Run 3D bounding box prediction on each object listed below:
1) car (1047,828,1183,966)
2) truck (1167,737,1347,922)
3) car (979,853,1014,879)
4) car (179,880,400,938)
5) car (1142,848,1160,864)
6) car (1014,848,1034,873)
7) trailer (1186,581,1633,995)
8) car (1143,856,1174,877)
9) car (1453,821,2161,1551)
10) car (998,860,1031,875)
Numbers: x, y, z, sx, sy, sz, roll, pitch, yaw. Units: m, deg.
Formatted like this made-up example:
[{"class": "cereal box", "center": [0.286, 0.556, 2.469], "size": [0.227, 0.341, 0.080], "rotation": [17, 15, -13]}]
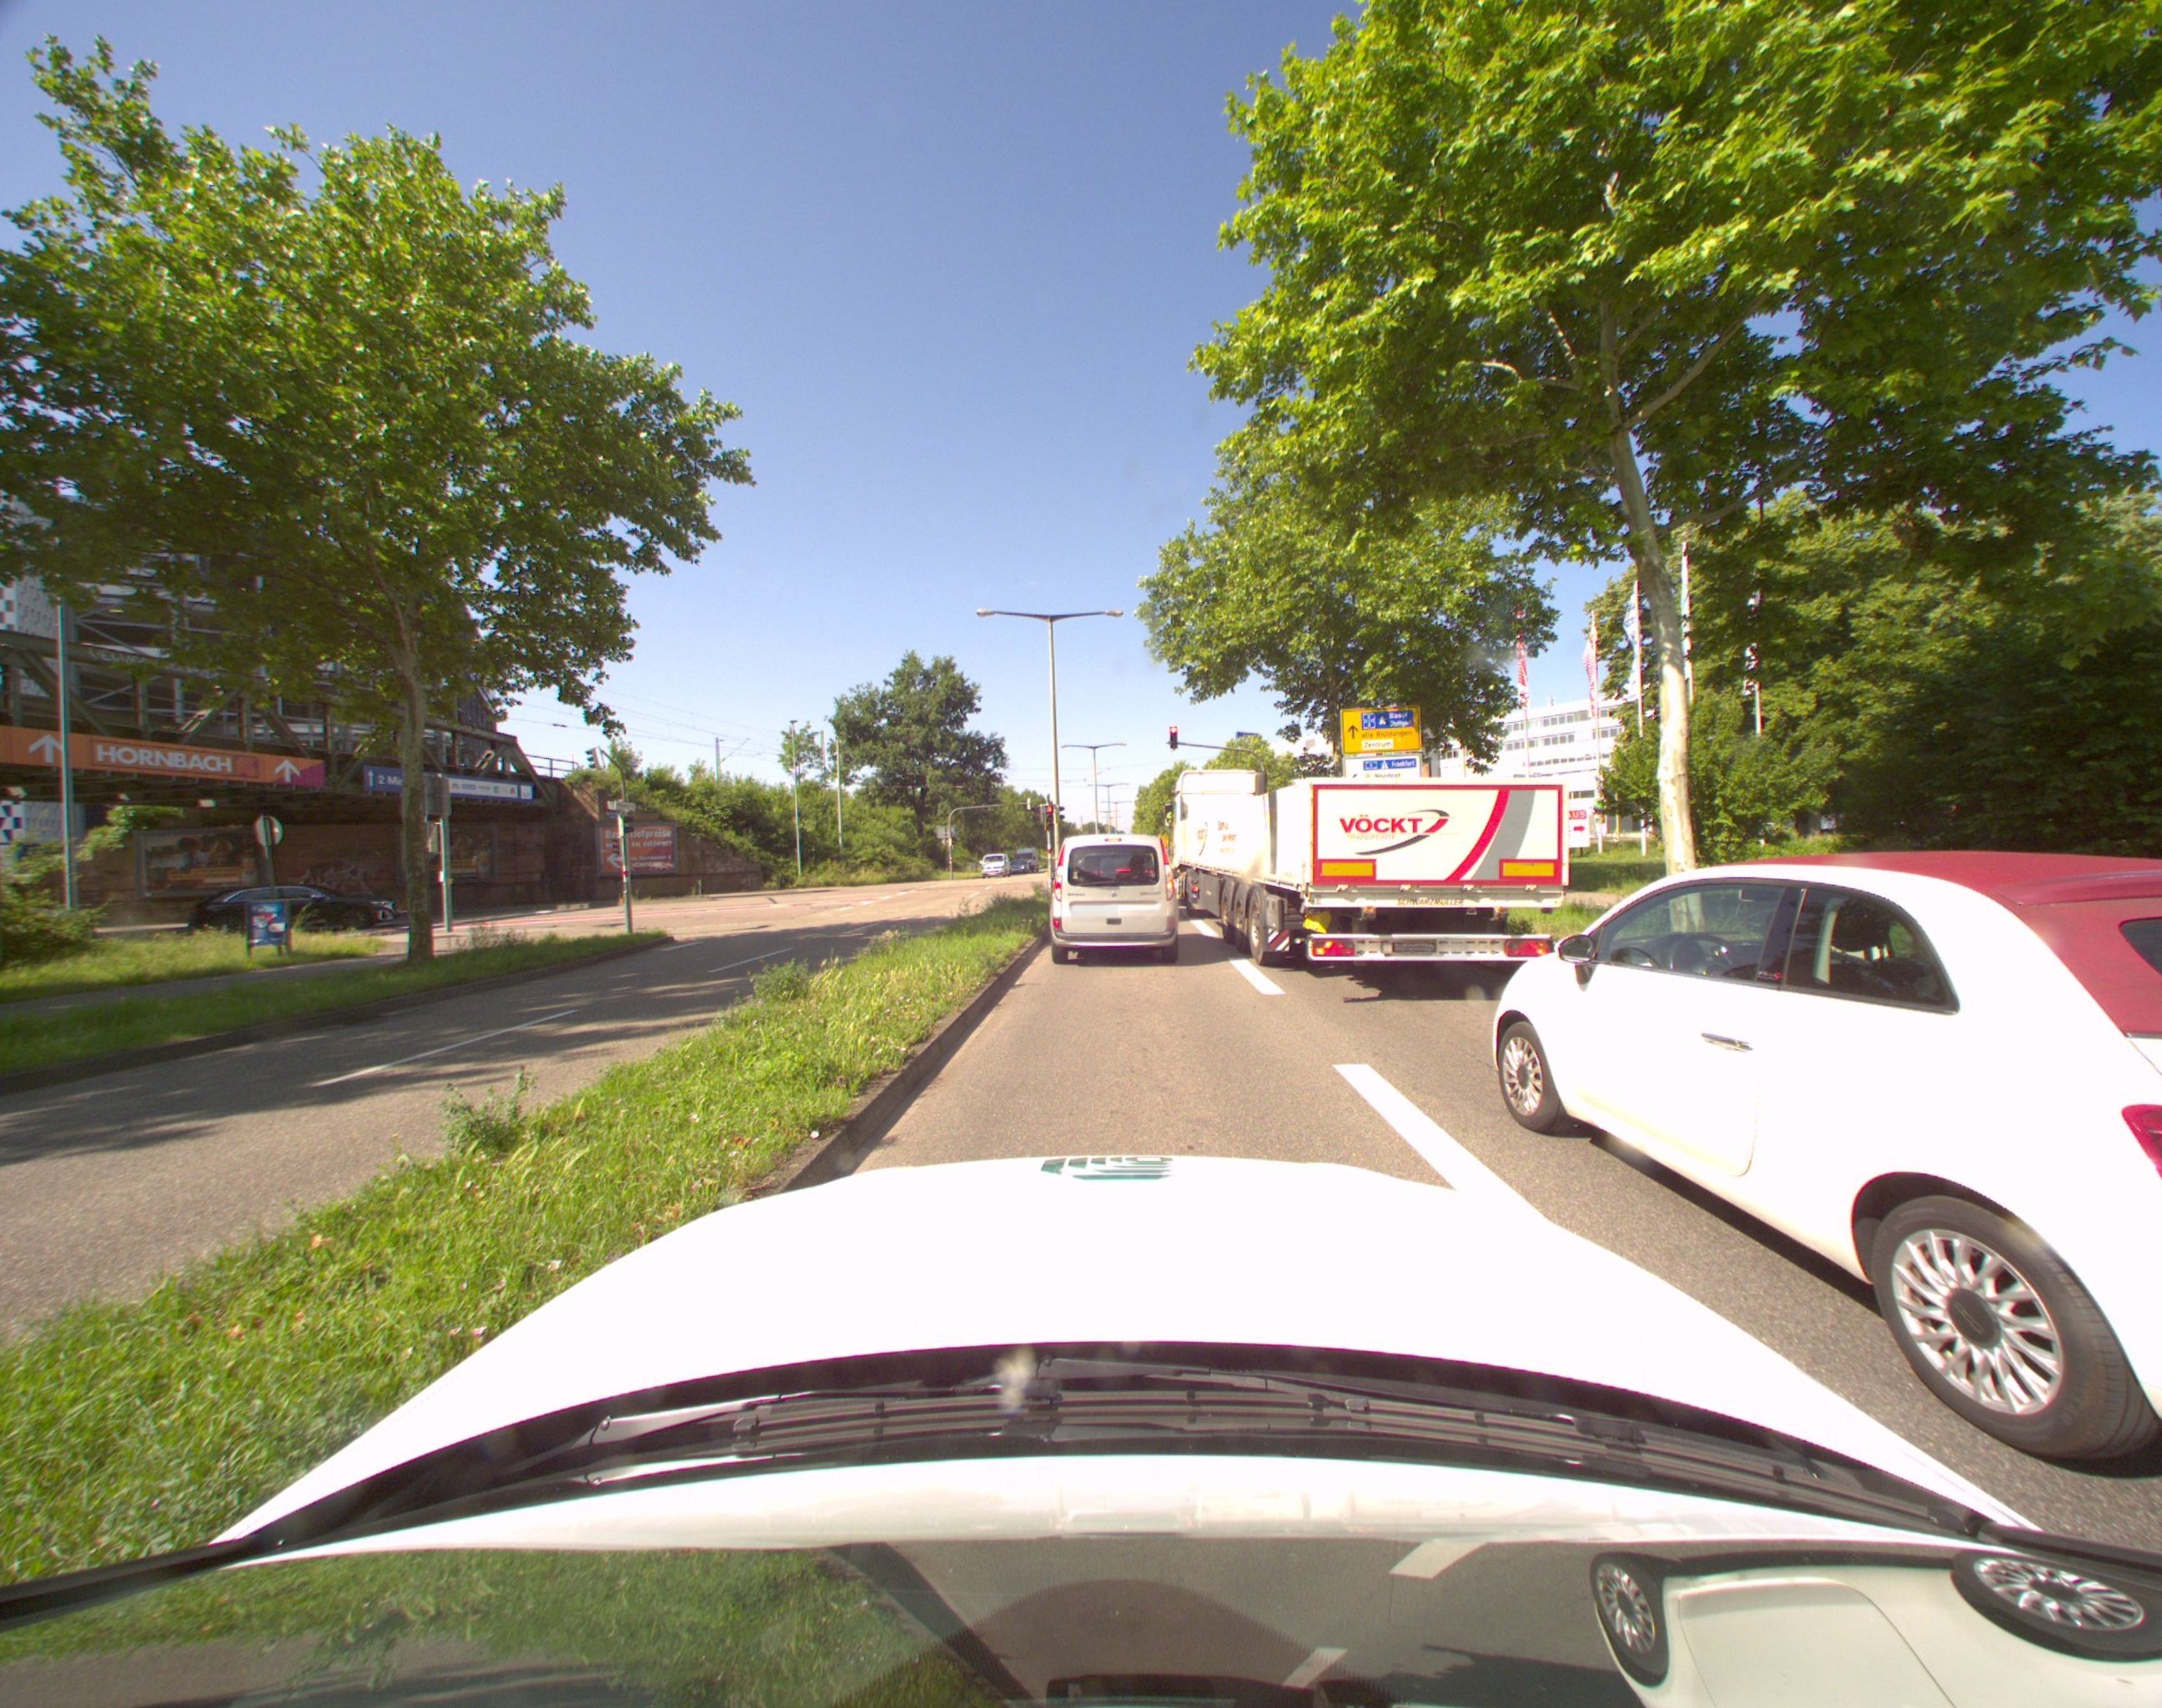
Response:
[{"class": "car", "center": [0.512, 0.575, 12.626], "size": [1.742, 1.772, 3.951], "rotation": [-1, 0, 2]}, {"class": "truck", "center": [4.027, -0.485, 20.552], "size": [3.060, 3.758, 7.478], "rotation": [-1, 0, 2]}, {"class": "car", "center": [-6.678, 0.927, 64.628], "size": [1.986, 1.891, 4.989], "rotation": [-4, 0, 1]}, {"class": "car", "center": [-26.058, 1.766, 27.111], "size": [5.074, 1.596, 1.510], "rotation": [-1, -1, -35]}, {"class": "car", "center": [8.821, 0.231, 102.926], "size": [1.986, 2.014, 4.001], "rotation": [-1, 0, 2]}, {"class": "car", "center": [-6.053, 0.687, 86.972], "size": [2.055, 2.614, 5.861], "rotation": [-1, 0, -4]}, {"class": "trailer", "center": [3.783, -0.575, 13.588], "size": [3.004, 3.740, 12.248], "rotation": [-1, 0, 3]}, {"class": "car", "center": [6.350, 1.004, 67.312], "size": [1.989, 1.640, 3.995], "rotation": [-1, 0, -3]}, {"class": "car", "center": [3.057, 0.646, 3.309], "size": [1.654, 1.436, 3.523], "rotation": [-1, 0, 4]}, {"class": "car", "center": [-6.475, 1.301, 78.691], "size": [1.920, 1.409, 4.193], "rotation": [-1, 0, -25]}]
